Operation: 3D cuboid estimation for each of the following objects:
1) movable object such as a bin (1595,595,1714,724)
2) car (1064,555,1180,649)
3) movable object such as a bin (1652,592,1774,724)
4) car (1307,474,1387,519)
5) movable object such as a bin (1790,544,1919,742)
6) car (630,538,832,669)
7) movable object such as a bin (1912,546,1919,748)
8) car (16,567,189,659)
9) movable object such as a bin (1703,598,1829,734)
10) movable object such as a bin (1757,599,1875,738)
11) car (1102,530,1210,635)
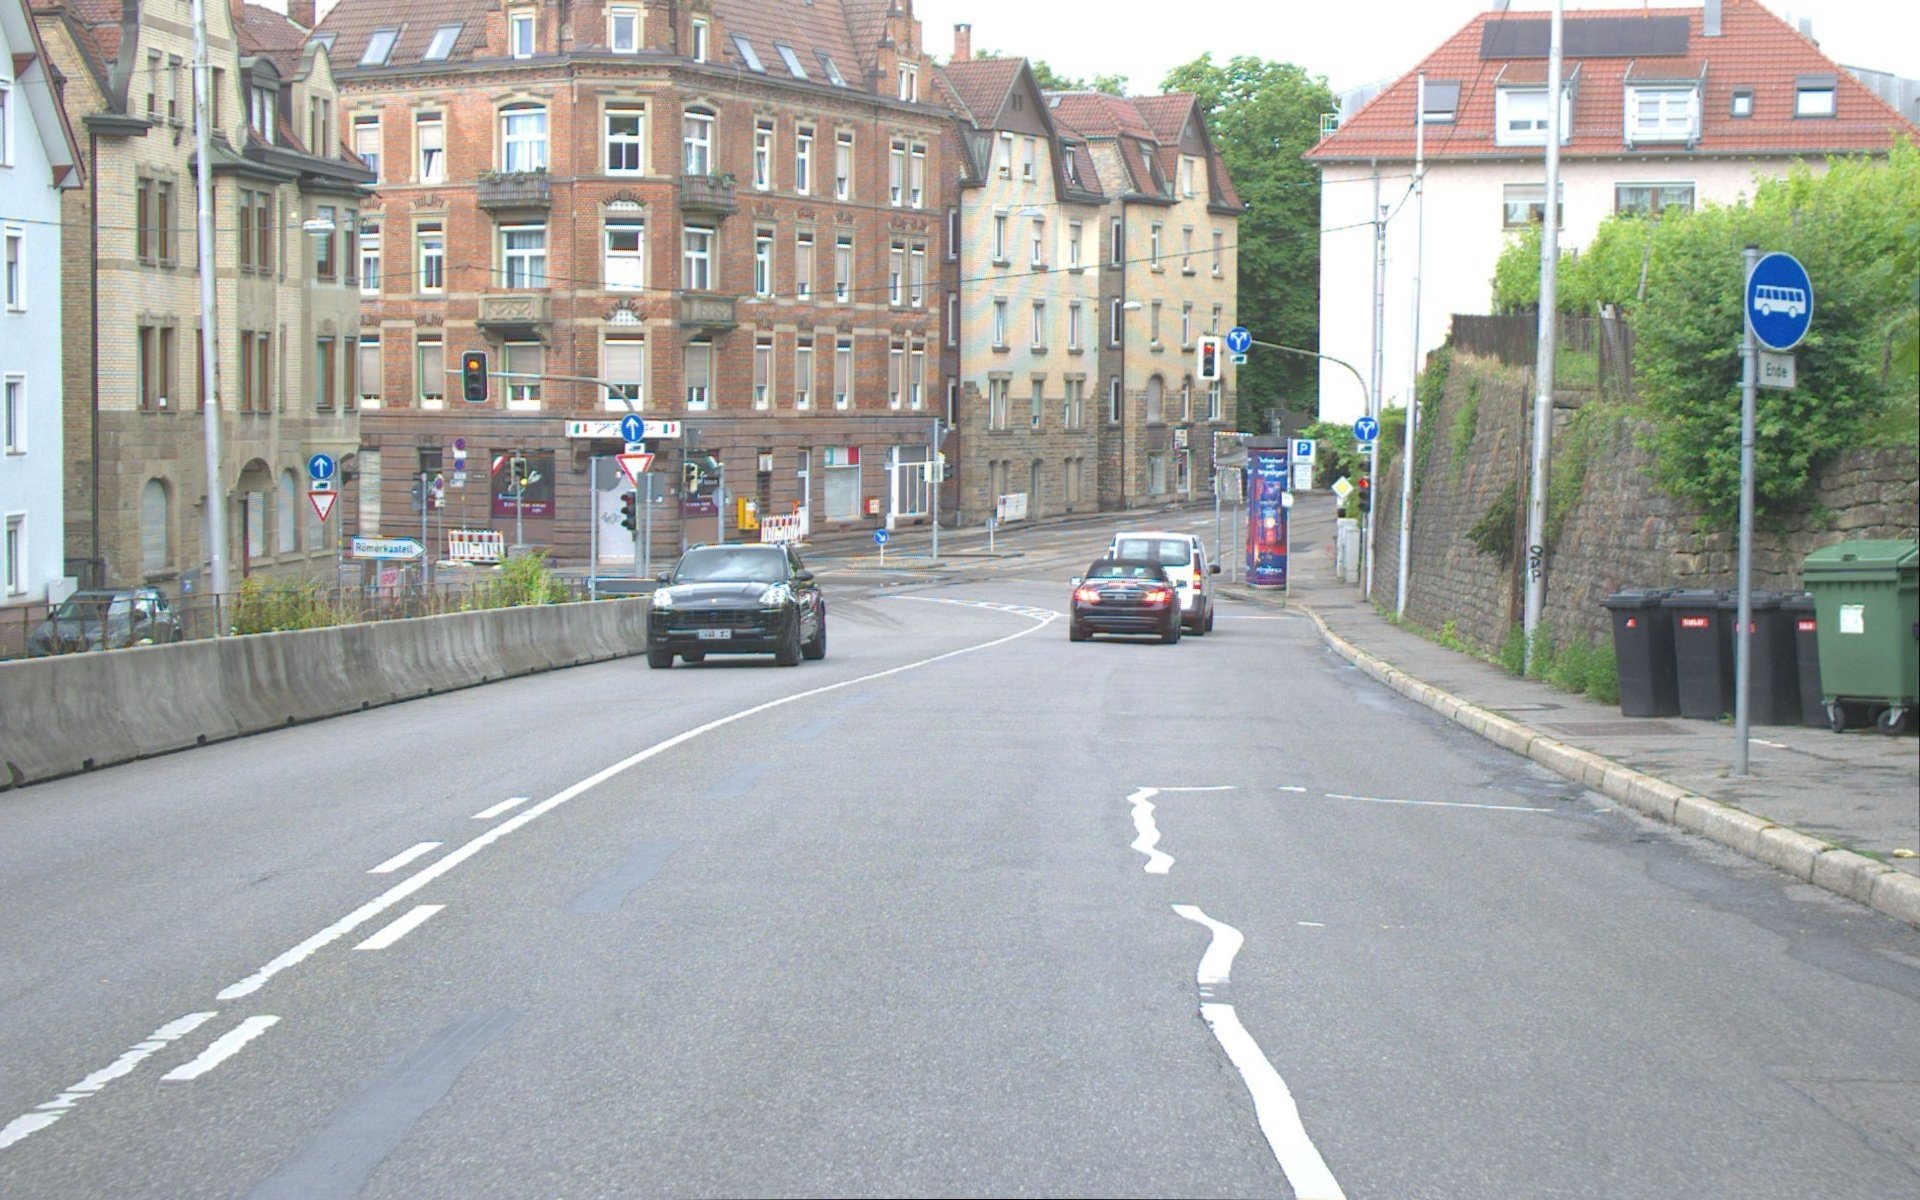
[{"bbox_3d":[5.798,0.491,28.722,0.742,1.055,0.679,0,1,-15],"label":"movable object such as a bin"},{"bbox_3d":[2.780,0.002,58.245,1.817,1.425,4.000,2,2,4],"label":"car"},{"bbox_3d":[6.148,0.466,28.082,0.742,1.055,0.679,0,1,-15],"label":"movable object such as a bin"},{"bbox_3d":[15.184,-4.070,134.694,1.844,1.696,3.995,2,3,26],"label":"car"},{"bbox_3d":[7.040,0.304,25.748,1.047,1.440,1.419,0,1,-15],"label":"movable object such as a bin"},{"bbox_3d":[-2.955,0.001,45.312,1.982,1.569,4.374,-1,1,5],"label":"car"},{"bbox_3d":[7.384,0.339,24.086,1.047,1.440,1.205,0,1,-2],"label":"movable object such as a bin"},{"bbox_3d":[-16.146,0.225,64.929,1.795,1.505,3.999,0,3,7],"label":"car"},{"bbox_3d":[6.402,0.514,27.321,0.742,1.055,0.679,0,1,-15],"label":"movable object such as a bin"},{"bbox_3d":[6.648,0.526,26.710,0.709,1.055,0.547,0,1,-15],"label":"movable object such as a bin"},{"bbox_3d":[3.751,-0.356,65.262,1.909,1.877,4.000,2,1,4],"label":"car"}]
